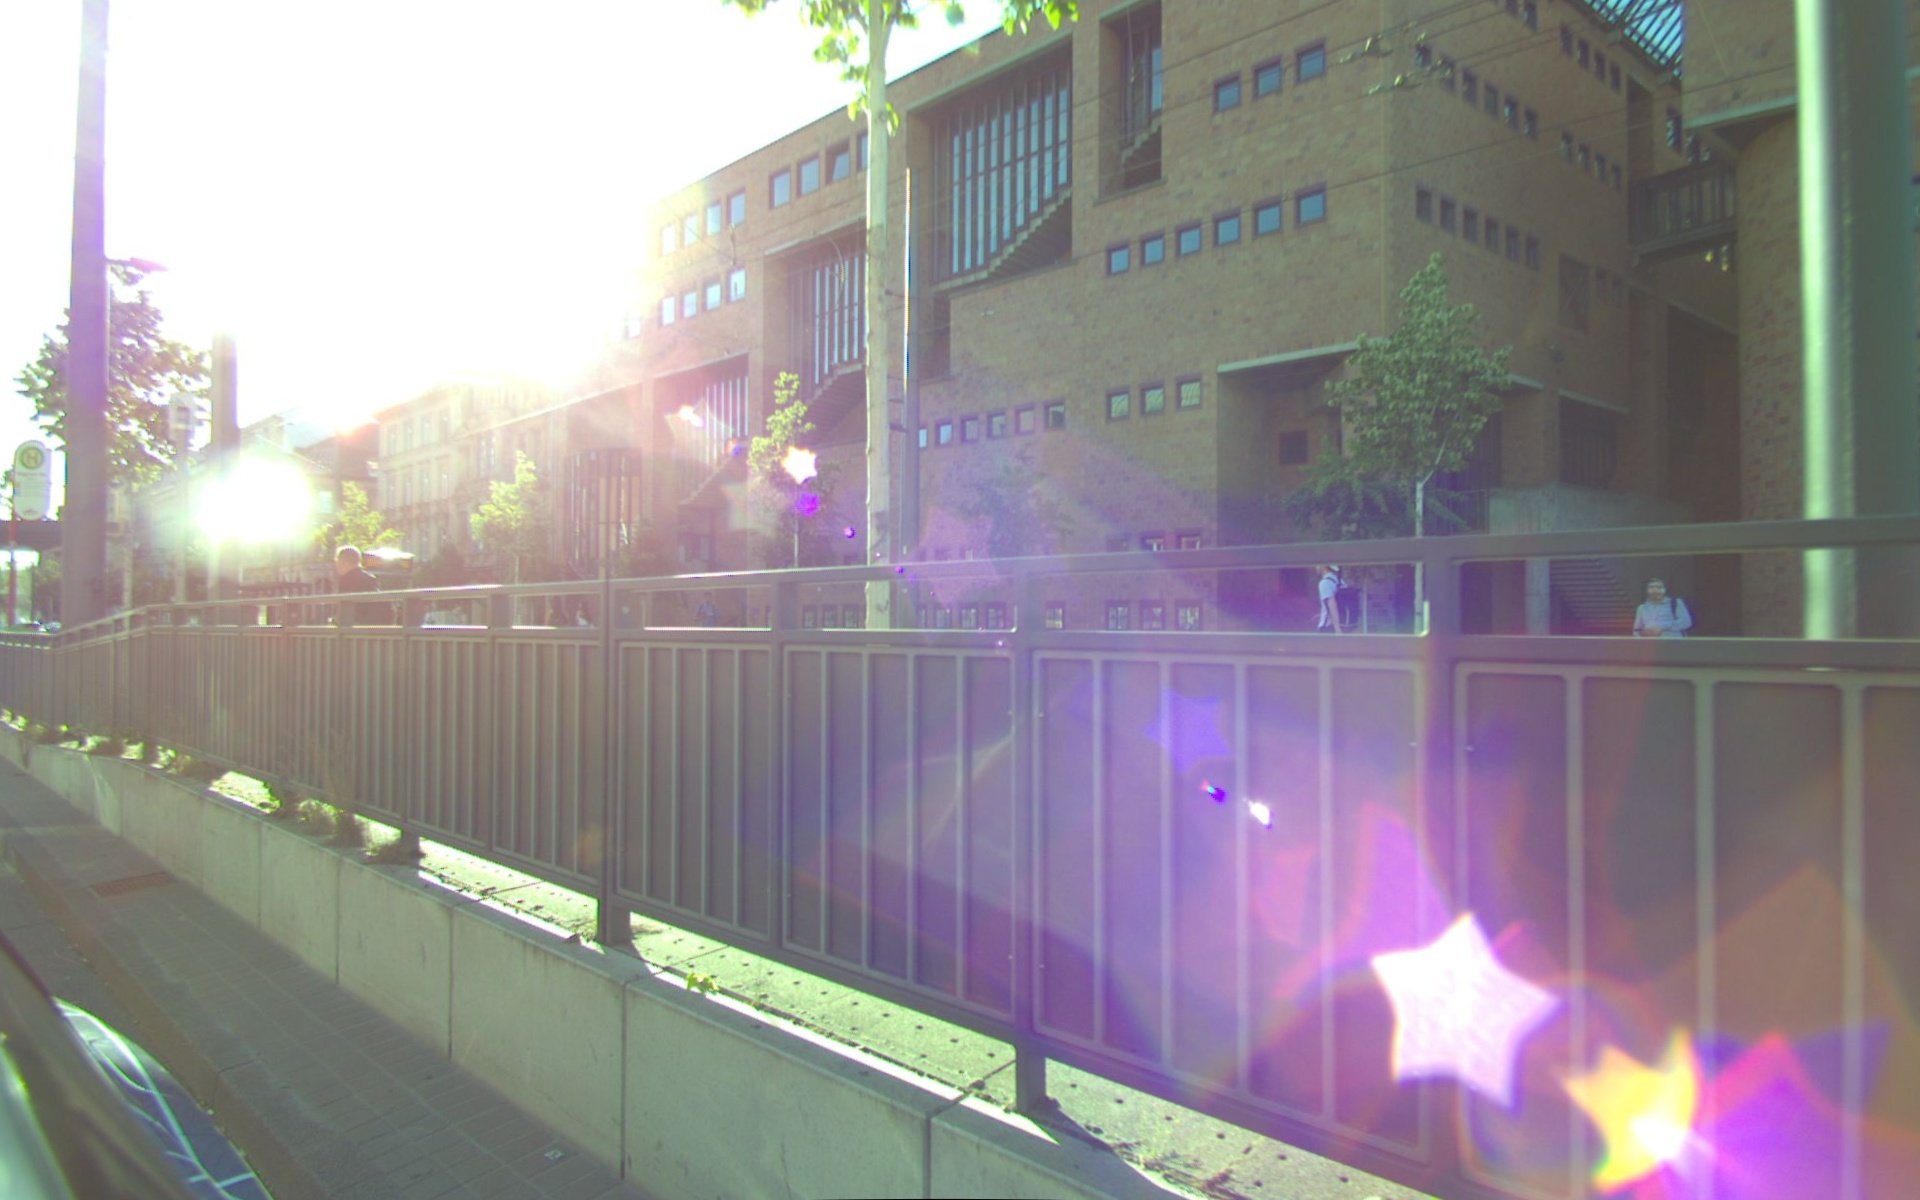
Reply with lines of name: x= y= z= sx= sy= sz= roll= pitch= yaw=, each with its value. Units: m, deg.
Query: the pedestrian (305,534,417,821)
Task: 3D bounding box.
pedestrian: x=-5.401 y=0.666 z=9.130 sx=0.625 sy=2.461 sz=0.676 roll=-1 pitch=0 yaw=38

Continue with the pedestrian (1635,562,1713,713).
pedestrian: x=8.103 y=0.411 z=11.485 sx=0.684 sy=1.647 sz=0.660 roll=-1 pitch=0 yaw=37

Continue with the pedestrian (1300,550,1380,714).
pedestrian: x=4.409 y=0.355 z=11.731 sx=0.668 sy=1.821 sz=0.677 roll=-1 pitch=0 yaw=40
